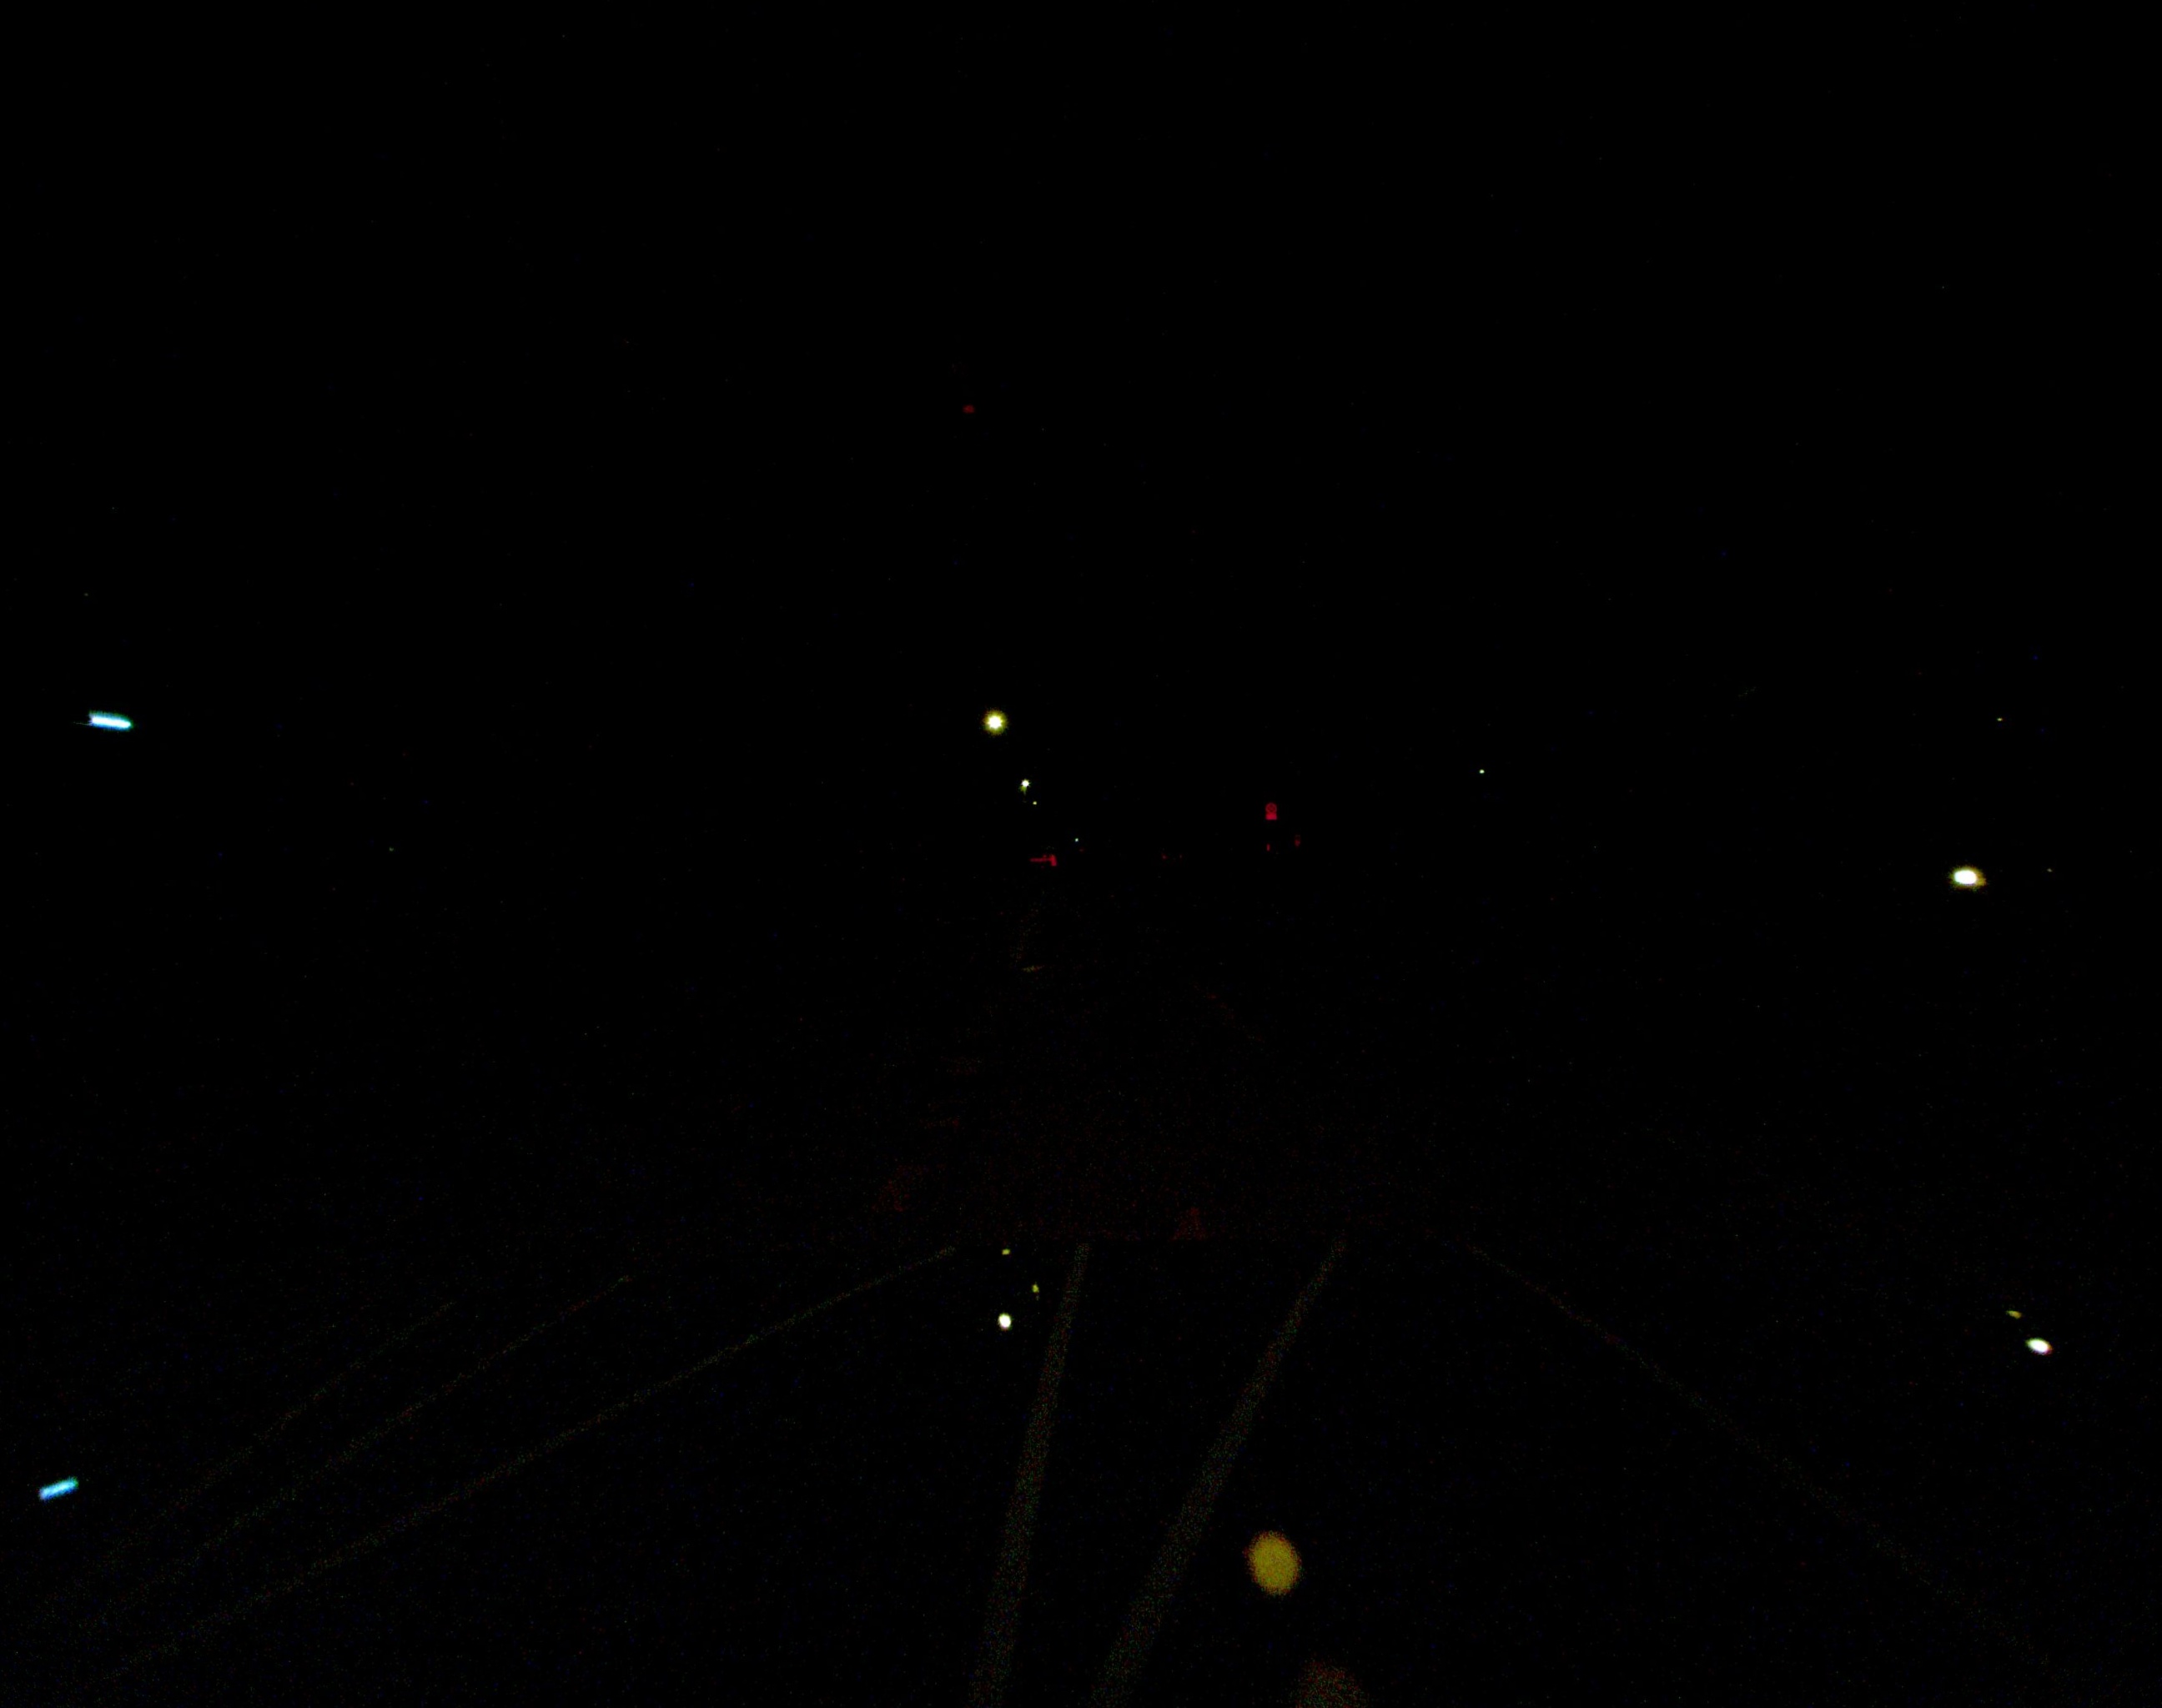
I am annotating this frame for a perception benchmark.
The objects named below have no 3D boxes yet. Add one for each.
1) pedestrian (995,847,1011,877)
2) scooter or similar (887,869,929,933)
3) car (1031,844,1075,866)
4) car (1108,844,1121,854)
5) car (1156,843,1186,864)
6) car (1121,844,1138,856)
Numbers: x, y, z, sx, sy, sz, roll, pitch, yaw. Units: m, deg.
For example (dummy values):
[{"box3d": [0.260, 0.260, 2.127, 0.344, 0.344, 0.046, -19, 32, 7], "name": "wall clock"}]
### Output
[{"box3d": [-4.852, 0.466, 47.040, 0.824, 1.809, 0.608, -3, 2, 1], "name": "pedestrian"}, {"box3d": [-3.672, 0.976, 16.217, 0.570, 1.271, 1.391, 0, 0, 0], "name": "scooter or similar"}, {"box3d": [-2.588, 0.065, 70.783, 3.997, 1.821, 1.912, -3, 2, 0], "name": "car"}, {"box3d": [5.183, -0.803, 118.318, 1.911, 1.445, 3.999, -3, 2, 1], "name": "car"}, {"box3d": [7.192, -0.050, 61.016, 1.911, 1.445, 3.999, -3, 2, 1], "name": "car"}, {"box3d": [6.381, -0.549, 100.456, 1.911, 1.445, 3.999, -3, 2, 1], "name": "car"}]
